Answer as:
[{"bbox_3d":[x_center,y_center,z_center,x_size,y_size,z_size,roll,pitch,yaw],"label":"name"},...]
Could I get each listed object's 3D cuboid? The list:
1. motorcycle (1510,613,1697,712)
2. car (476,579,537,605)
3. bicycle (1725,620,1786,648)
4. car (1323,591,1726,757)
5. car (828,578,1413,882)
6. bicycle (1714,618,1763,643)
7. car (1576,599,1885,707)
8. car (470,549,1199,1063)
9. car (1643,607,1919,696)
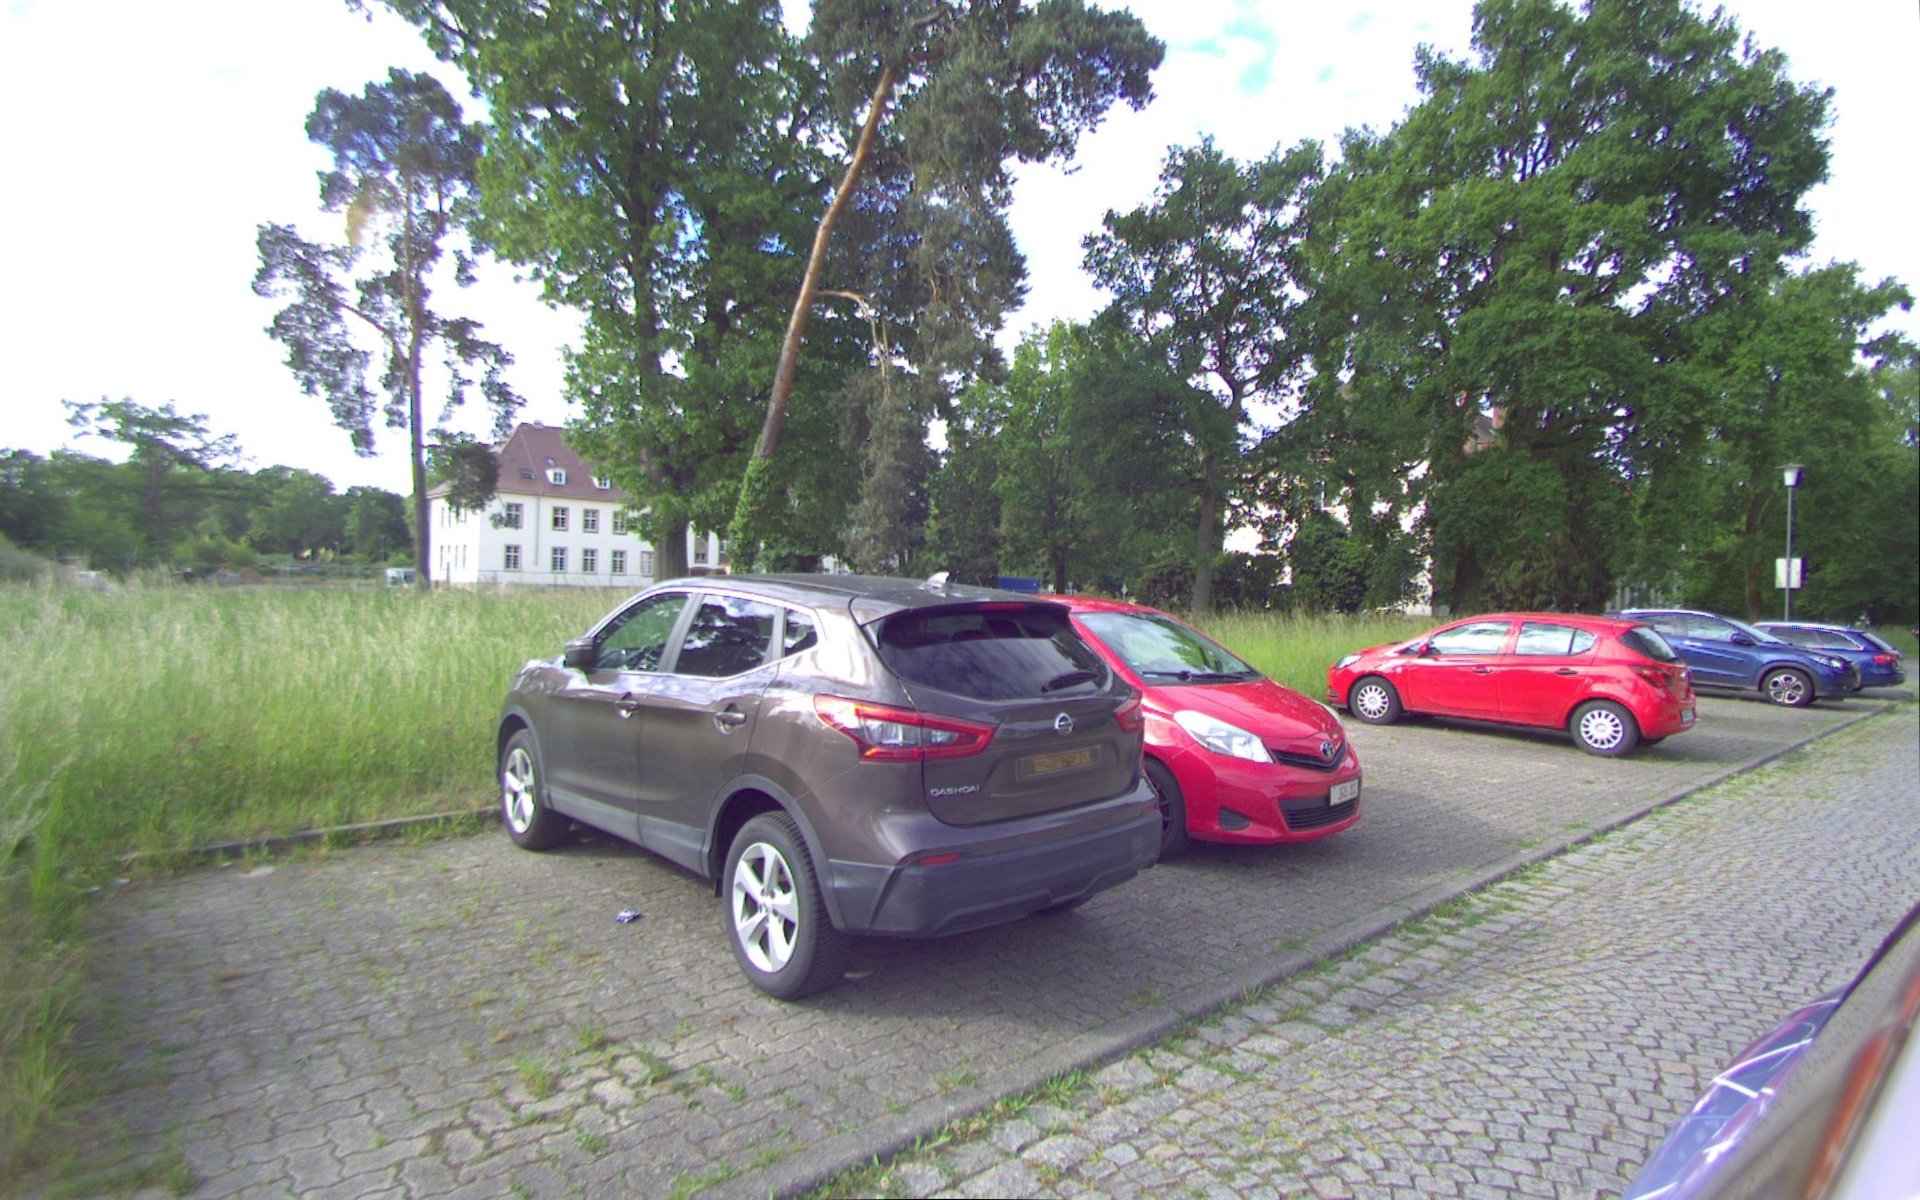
[{"bbox_3d":[9.604,0.894,15.189,2.265,1.291,0.596,3,1,44],"label":"motorcycle"},{"bbox_3d":[-37.618,-0.662,83.831,5.811,2.039,2.450,0,0,41],"label":"car"},{"bbox_3d":[35.029,1.487,44.577,1.999,1.101,0.474,2,3,27],"label":"bicycle"},{"bbox_3d":[6.603,0.745,12.136,1.708,1.524,3.845,2,1,-42],"label":"car"},{"bbox_3d":[0.886,0.653,7.308,1.708,1.537,3.994,1,0,-41],"label":"car"},{"bbox_3d":[38.043,1.490,49.489,1.791,1.101,0.548,2,3,27],"label":"bicycle"},{"bbox_3d":[14.193,0.886,18.838,1.862,1.593,4.271,2,1,-41],"label":"car"},{"bbox_3d":[-0.953,0.612,5.206,1.732,1.600,3.955,1,0,-43],"label":"car"},{"bbox_3d":[17.740,1.019,21.914,1.860,1.483,4.518,2,2,-38],"label":"car"}]
